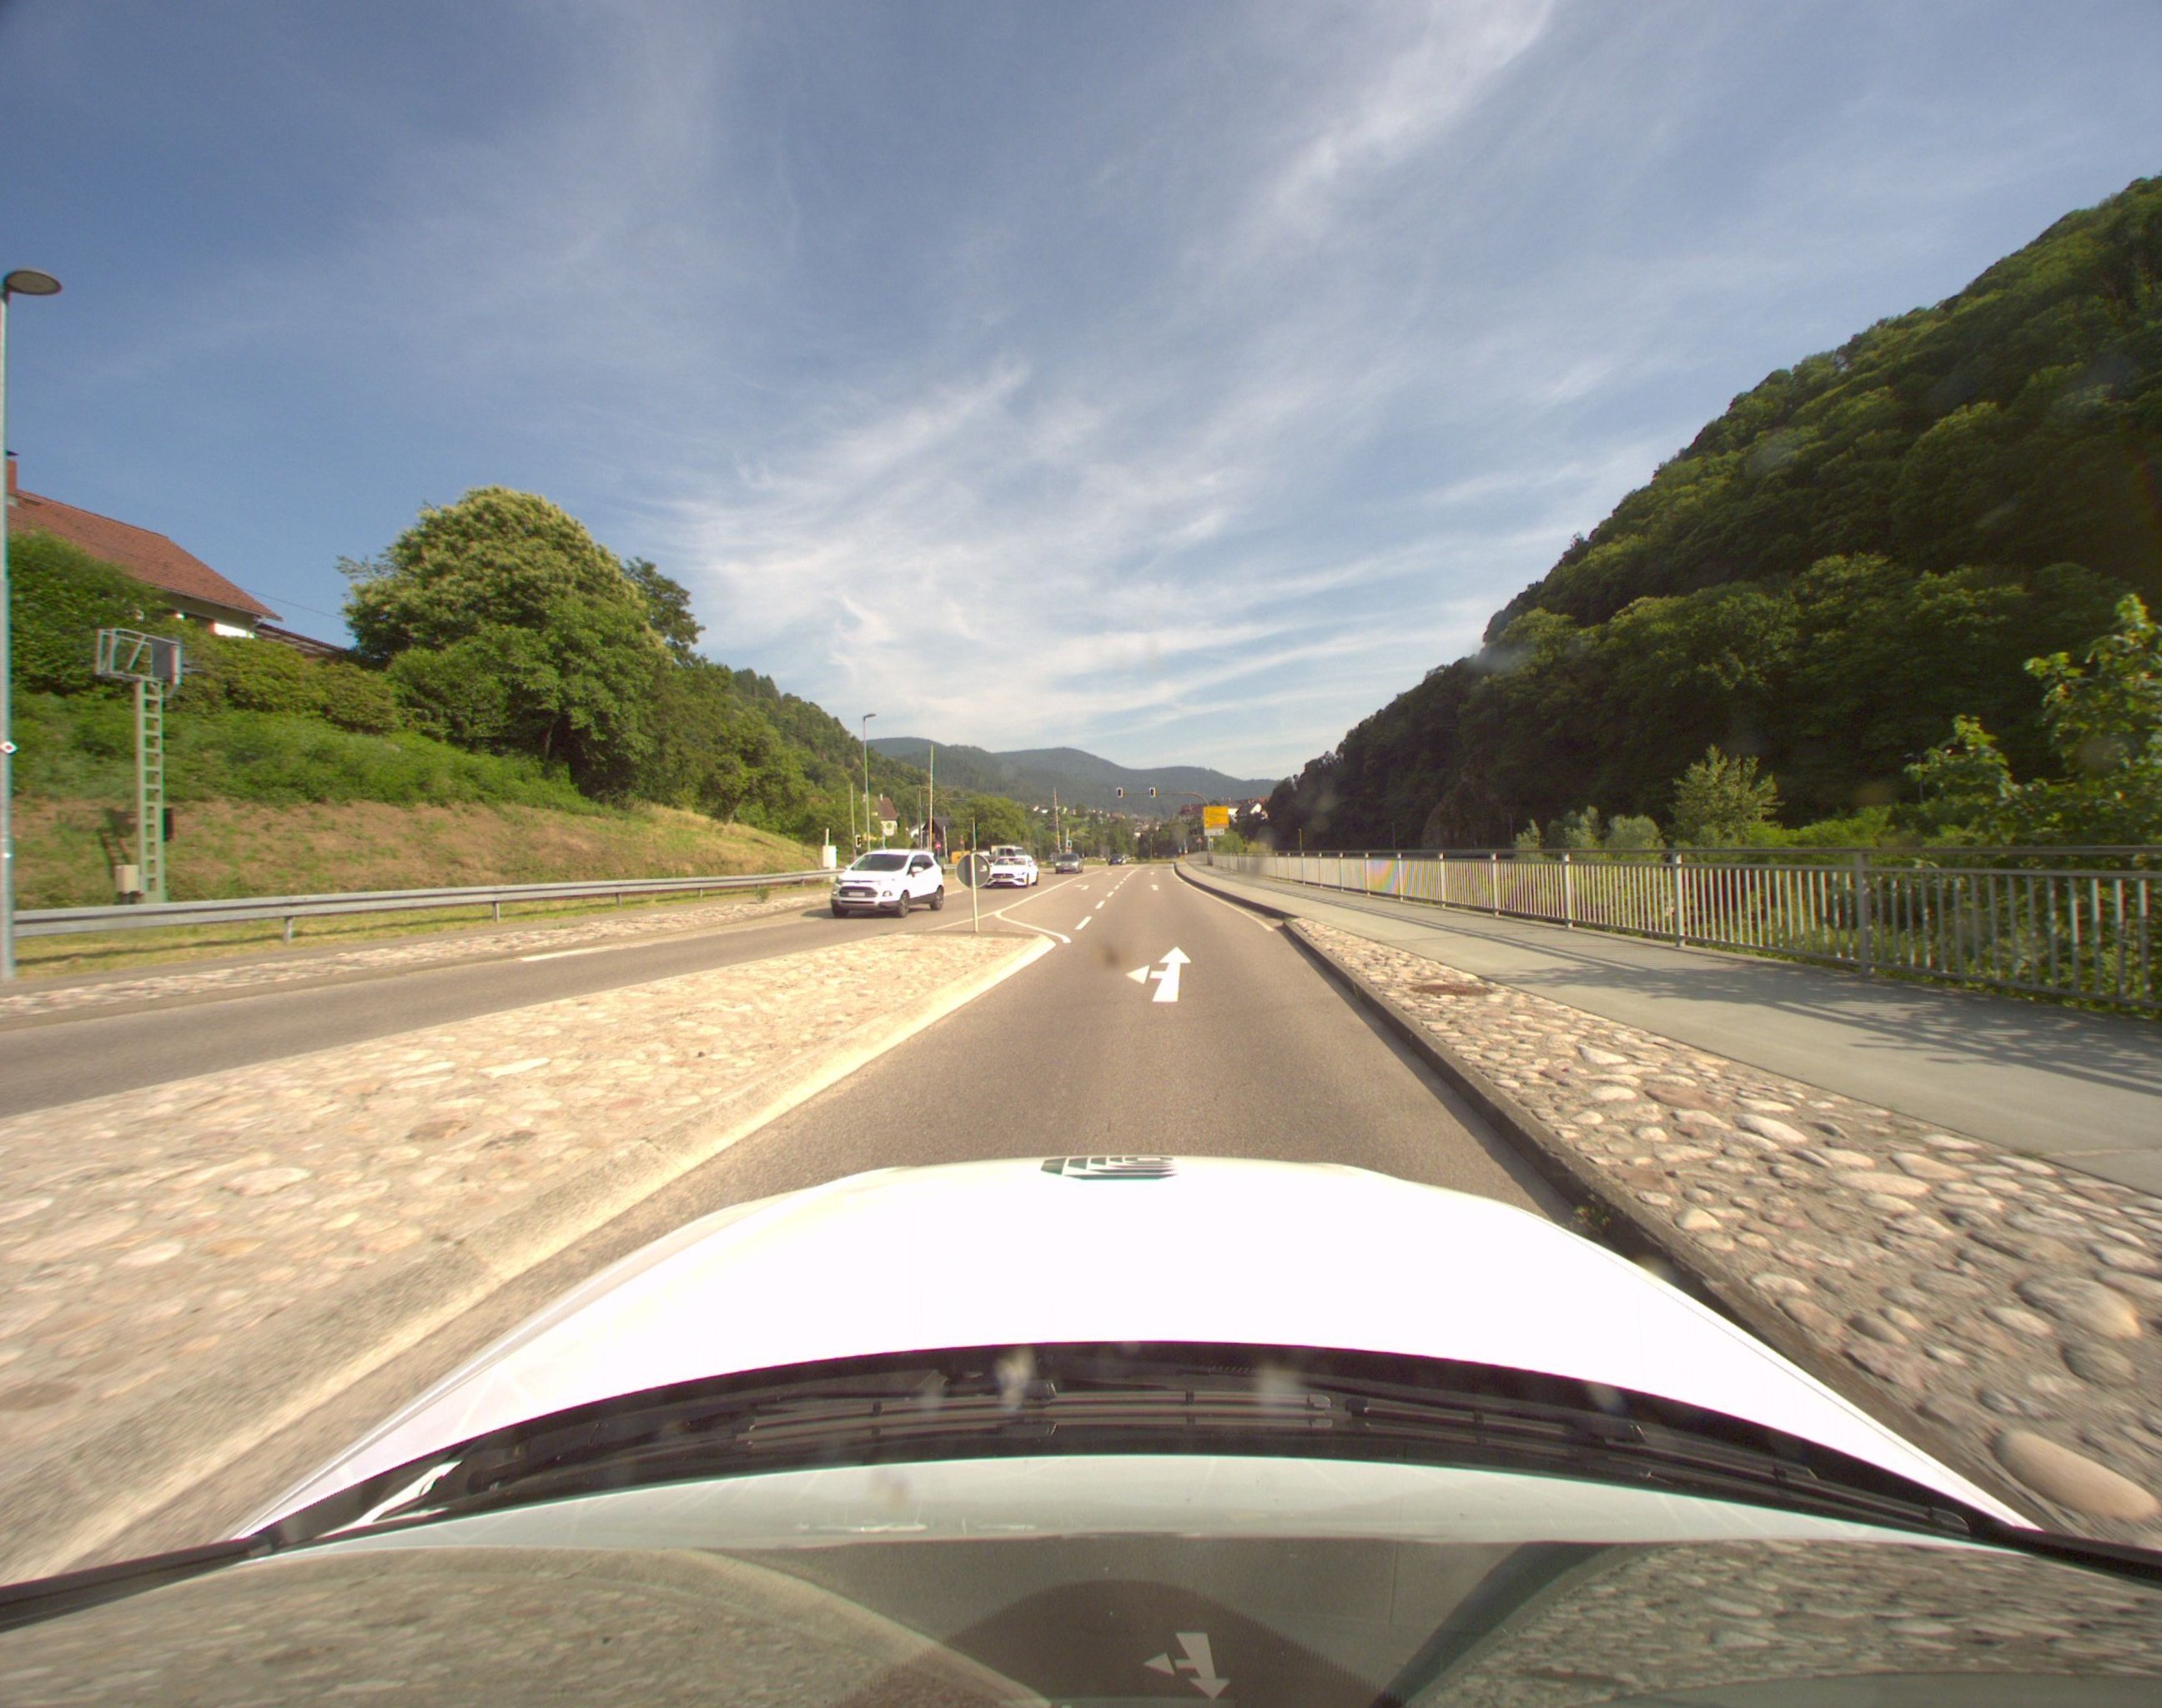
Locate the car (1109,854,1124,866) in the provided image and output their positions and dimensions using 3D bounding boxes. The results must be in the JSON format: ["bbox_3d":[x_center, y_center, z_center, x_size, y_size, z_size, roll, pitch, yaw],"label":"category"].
[{"bbox_3d":[4.567,0.751,104.980,1.765,1.416,3.789,-2,-1,4],"label":"car"}]

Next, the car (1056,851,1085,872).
[{"bbox_3d":[-0.755,0.580,62.503,1.750,1.521,4.210,-1,0,5],"label":"car"}]

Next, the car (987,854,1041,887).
[{"bbox_3d":[-2.964,0.704,37.006,1.774,1.400,4.831,0,0,3],"label":"car"}]

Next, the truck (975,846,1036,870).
[{"bbox_3d":[-7.241,0.394,78.046,5.925,2.266,2.013,0,-1,36],"label":"truck"}]

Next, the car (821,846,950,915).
[{"bbox_3d":[-4.773,0.636,20.491,1.754,1.560,4.009,-1,-1,8],"label":"car"}]
